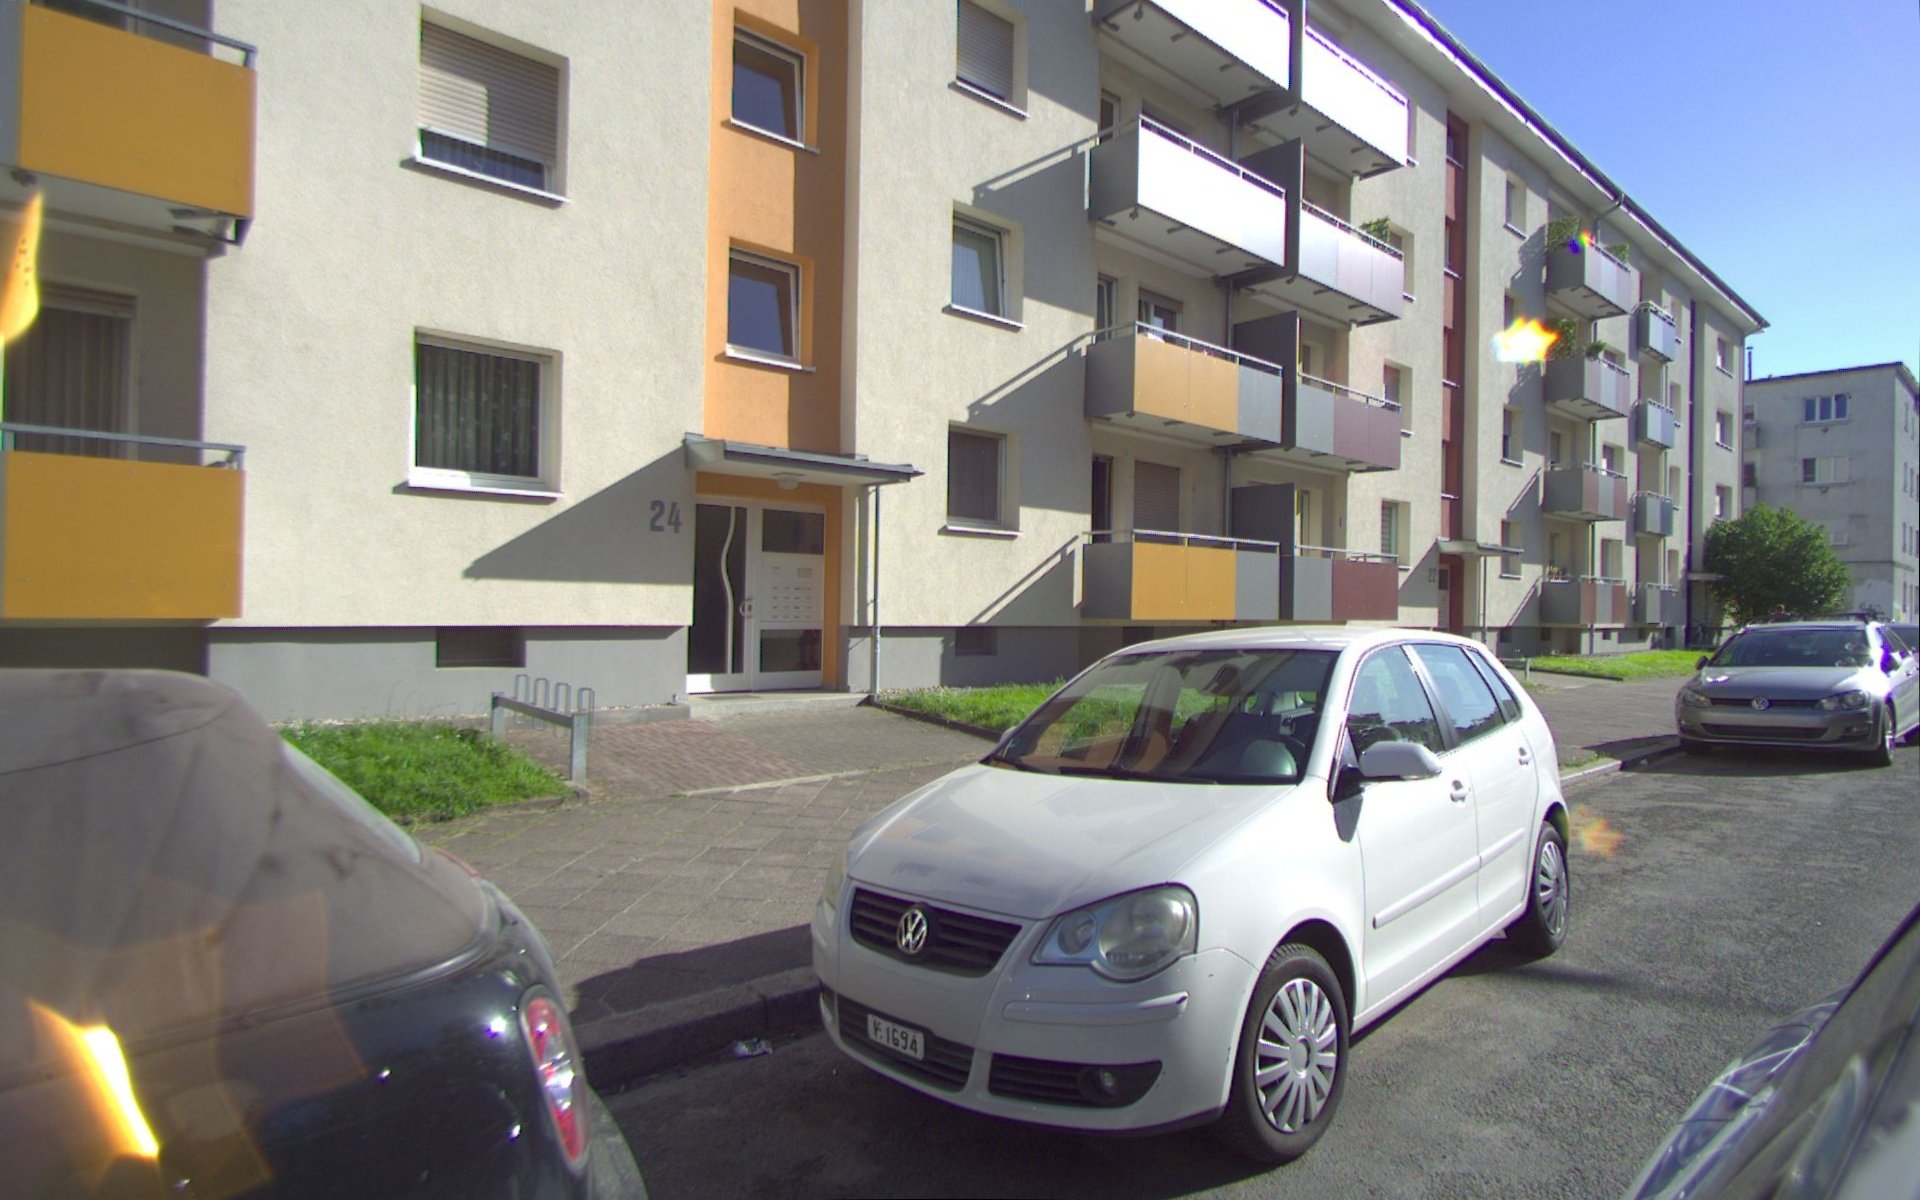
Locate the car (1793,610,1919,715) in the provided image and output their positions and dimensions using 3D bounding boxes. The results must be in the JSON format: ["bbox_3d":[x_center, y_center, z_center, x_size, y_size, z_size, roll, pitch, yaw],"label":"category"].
[{"bbox_3d":[14.863,0.893,16.005,4.441,1.462,1.756,0,-1,-39],"label":"car"}]

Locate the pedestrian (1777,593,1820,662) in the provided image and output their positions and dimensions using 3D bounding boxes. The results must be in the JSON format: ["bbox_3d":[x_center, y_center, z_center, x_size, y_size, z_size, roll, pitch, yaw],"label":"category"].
[{"bbox_3d":[22.405,0.722,27.050,0.824,1.794,0.647,0,-2,-33],"label":"pedestrian"}]

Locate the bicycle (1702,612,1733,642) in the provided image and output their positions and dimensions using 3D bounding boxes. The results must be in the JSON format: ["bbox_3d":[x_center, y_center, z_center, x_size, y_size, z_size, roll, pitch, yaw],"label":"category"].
[{"bbox_3d":[24.842,0.872,33.188,2.246,0.973,0.485,1,-1,-45],"label":"bicycle"}]

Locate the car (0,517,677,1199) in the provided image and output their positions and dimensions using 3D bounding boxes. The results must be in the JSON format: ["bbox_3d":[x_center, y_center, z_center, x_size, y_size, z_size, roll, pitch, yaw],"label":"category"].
[{"bbox_3d":[-2.273,0.726,0.915,3.519,1.486,1.690,0,-5,-40],"label":"car"}]

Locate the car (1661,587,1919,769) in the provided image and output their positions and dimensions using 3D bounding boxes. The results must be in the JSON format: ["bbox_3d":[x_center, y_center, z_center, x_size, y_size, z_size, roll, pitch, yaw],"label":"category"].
[{"bbox_3d":[9.703,0.765,11.424,4.523,1.643,1.900,0,-3,-42],"label":"car"}]

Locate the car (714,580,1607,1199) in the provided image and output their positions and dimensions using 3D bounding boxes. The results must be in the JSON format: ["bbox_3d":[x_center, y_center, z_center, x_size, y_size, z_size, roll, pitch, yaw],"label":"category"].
[{"bbox_3d":[1.104,0.738,4.110,3.756,1.482,1.686,0,-3,-44],"label":"car"}]

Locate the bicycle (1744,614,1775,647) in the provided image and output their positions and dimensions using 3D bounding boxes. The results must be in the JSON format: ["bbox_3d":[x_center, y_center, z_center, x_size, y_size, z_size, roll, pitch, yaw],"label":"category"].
[{"bbox_3d":[25.508,0.957,32.273,2.246,1.025,0.485,1,-1,-45],"label":"bicycle"}]

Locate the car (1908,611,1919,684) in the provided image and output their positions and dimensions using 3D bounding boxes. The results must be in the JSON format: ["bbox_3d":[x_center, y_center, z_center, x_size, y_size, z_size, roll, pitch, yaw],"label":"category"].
[{"bbox_3d":[22.062,0.991,22.053,4.011,1.500,1.753,0,-2,-43],"label":"car"}]
